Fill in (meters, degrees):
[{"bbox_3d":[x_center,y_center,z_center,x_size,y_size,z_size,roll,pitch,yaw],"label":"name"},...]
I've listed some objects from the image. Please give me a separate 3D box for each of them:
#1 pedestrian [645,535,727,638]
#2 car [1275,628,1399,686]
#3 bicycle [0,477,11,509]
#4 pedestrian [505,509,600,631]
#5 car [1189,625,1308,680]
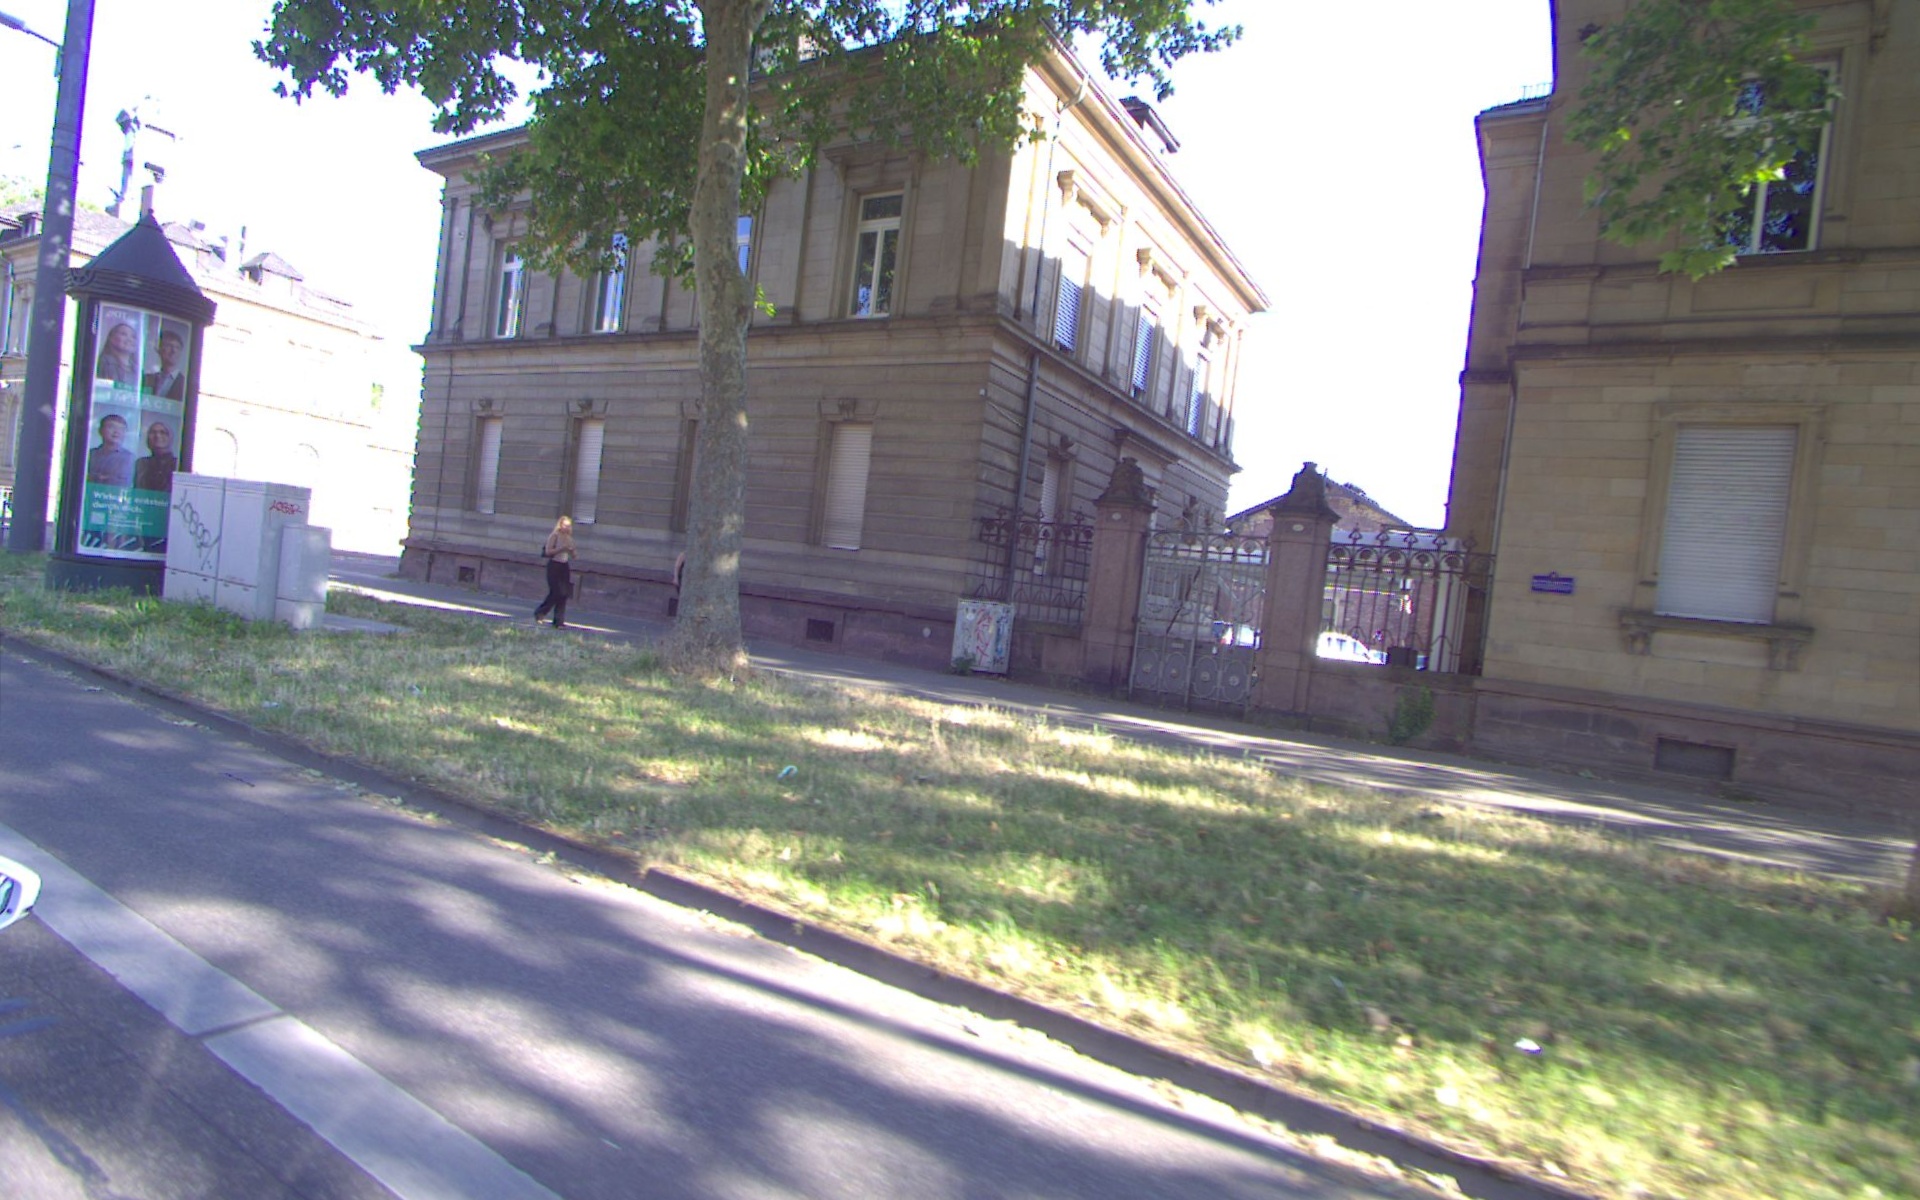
[{"bbox_3d":[-4.676,-0.224,17.192,0.970,1.627,0.769,7,2,33],"label":"pedestrian"},{"bbox_3d":[12.776,1.923,34.012,3.959,1.505,1.800,6,1,-33],"label":"car"},{"bbox_3d":[-38.567,-4.304,39.206,0.752,1.225,2.138,7,2,30],"label":"bicycle"},{"bbox_3d":[-6.233,-0.450,15.383,1.025,1.731,0.769,7,2,33],"label":"pedestrian"},{"bbox_3d":[10.264,1.865,35.738,3.959,1.505,1.800,6,1,-33],"label":"car"}]
